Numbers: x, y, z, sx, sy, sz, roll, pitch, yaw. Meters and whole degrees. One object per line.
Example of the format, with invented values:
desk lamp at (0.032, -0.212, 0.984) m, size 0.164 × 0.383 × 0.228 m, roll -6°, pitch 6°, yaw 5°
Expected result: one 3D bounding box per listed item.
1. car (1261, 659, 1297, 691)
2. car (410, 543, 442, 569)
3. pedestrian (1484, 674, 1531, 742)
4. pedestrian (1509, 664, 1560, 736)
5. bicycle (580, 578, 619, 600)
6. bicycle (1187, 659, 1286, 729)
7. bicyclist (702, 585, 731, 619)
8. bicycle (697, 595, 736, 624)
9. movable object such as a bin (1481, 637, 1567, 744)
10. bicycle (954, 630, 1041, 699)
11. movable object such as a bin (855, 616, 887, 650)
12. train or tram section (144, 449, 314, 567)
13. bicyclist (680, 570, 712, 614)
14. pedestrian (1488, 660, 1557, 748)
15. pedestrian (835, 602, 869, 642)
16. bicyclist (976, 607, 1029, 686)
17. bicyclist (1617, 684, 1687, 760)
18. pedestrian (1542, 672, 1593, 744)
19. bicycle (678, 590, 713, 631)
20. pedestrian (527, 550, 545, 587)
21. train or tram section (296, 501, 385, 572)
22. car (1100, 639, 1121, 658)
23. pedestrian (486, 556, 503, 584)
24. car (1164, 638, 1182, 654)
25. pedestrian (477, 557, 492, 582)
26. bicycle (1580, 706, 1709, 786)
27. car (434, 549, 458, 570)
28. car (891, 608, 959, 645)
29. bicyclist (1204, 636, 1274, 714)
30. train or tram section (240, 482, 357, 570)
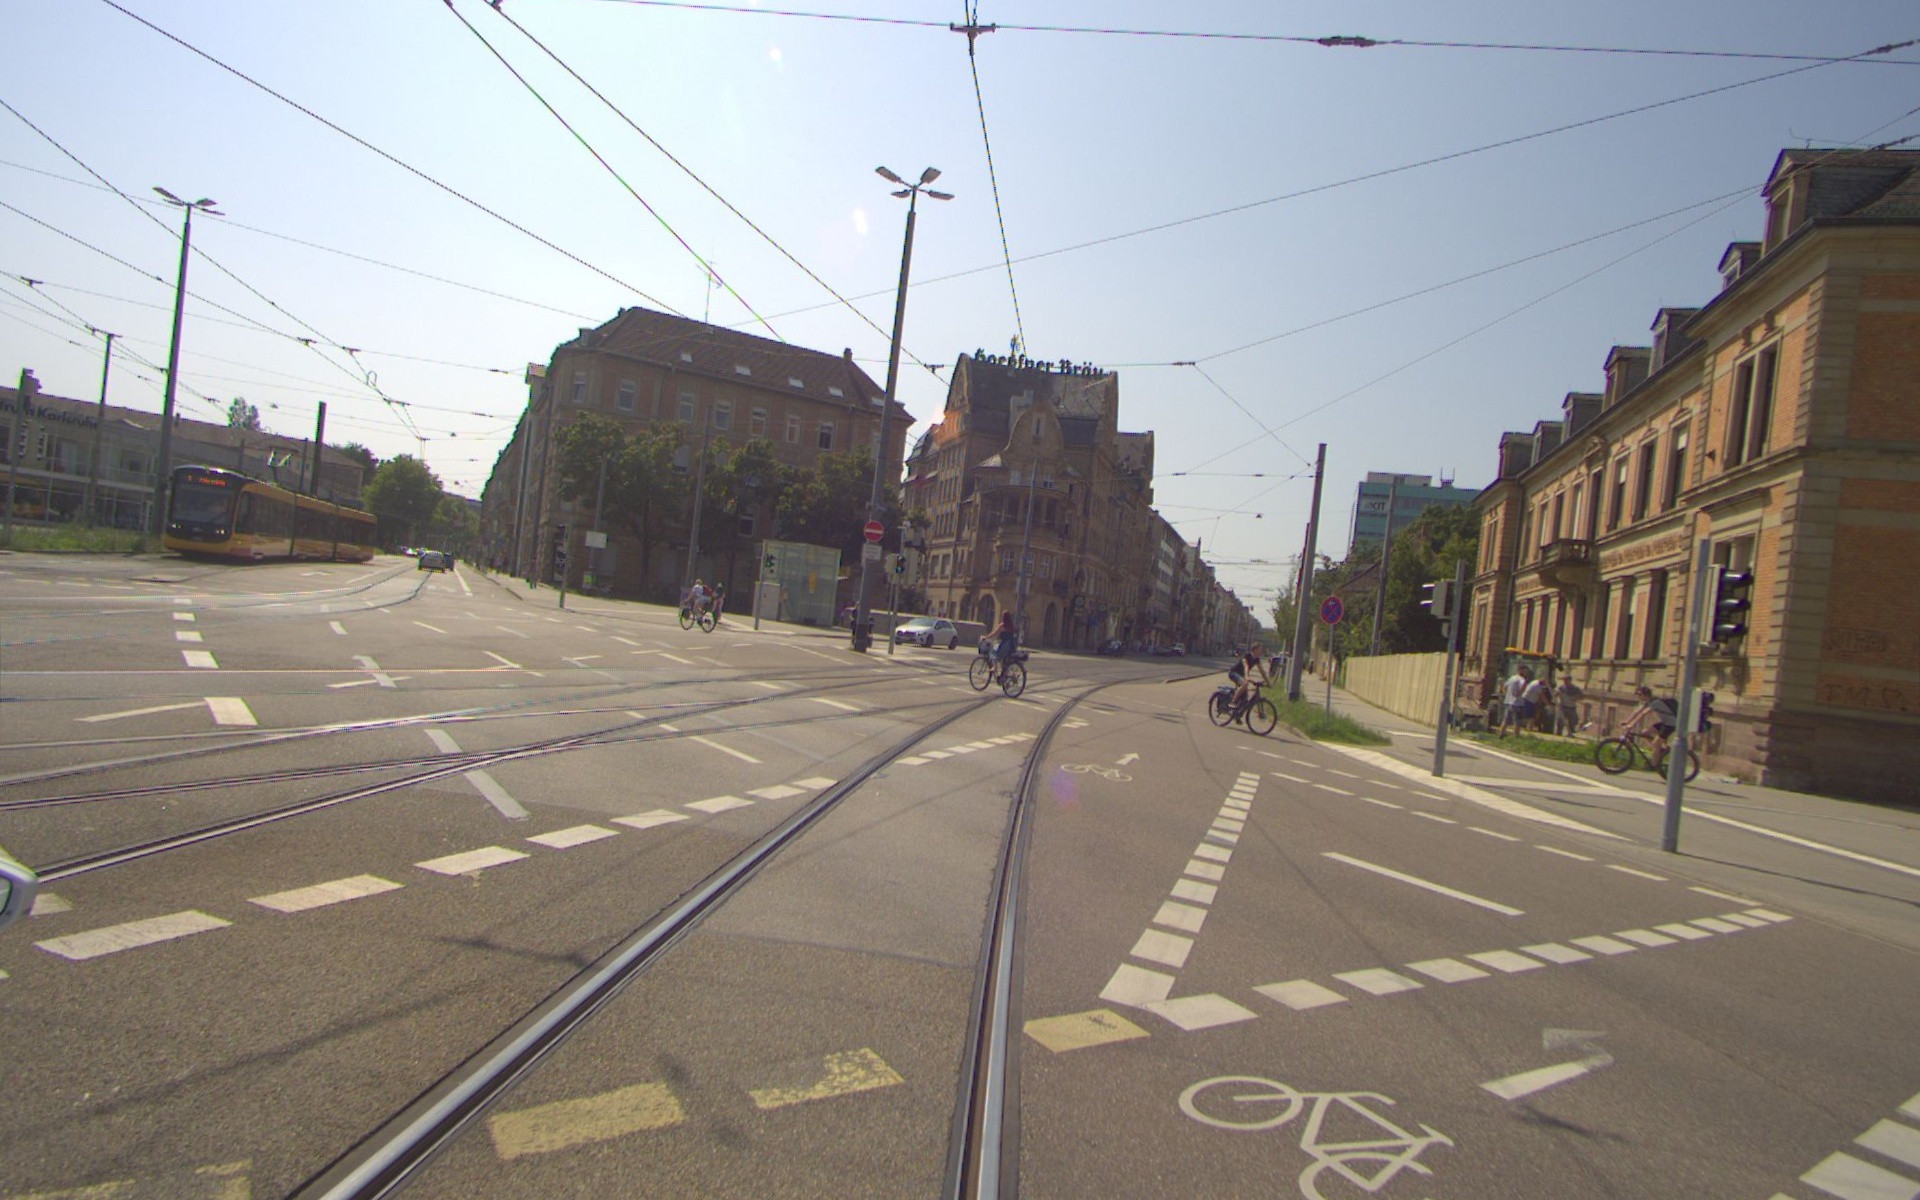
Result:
car at (24.150, 5.726, 76.125) m, size 1.964 × 2.036 × 4.001 m, roll 7°, pitch -2°, yaw 24°
car at (-38.676, -3.204, 72.846) m, size 1.721 × 1.592 × 3.583 m, roll 9°, pitch -2°, yaw -31°
pedestrian at (14.814, 2.921, 27.224) m, size 0.673 × 1.692 × 0.684 m, roll 7°, pitch 1°, yaw -13°
pedestrian at (14.659, 2.543, 25.695) m, size 0.673 × 1.692 × 0.684 m, roll 7°, pitch 1°, yaw -13°
bicycle at (-19.101, -0.570, 53.322) m, size 1.771 × 0.969 × 0.458 m, roll 7°, pitch 0°, yaw -34°
bicycle at (5.590, 1.890, 20.456) m, size 0.468 × 1.140 × 1.937 m, roll 6°, pitch 0°, yaw -37°
bicyclist at (-10.313, 0.085, 42.587) m, size 0.743 × 1.336 × 0.912 m, roll 6°, pitch 0°, yaw -37°
bicycle at (-10.317, 0.379, 42.533) m, size 0.640 × 1.010 × 2.351 m, roll 7°, pitch 0°, yaw -37°
movable object such as a bin at (16.556, 2.631, 29.559) m, size 1.787 × 2.704 × 4.449 m, roll 7°, pitch 0°, yaw 29°
bicycle at (0.736, 1.292, 20.580) m, size 0.437 × 1.125 × 2.106 m, roll 6°, pitch 1°, yaw -37°
movable object such as a bin at (-3.201, 1.176, 36.127) m, size 0.809 × 1.097 × 1.035 m, roll 8°, pitch -2°, yaw -18°
train or tram section at (-29.608, -3.433, 41.461) m, size 2.562 × 3.601 × 12.156 m, roll 8°, pitch -2°, yaw -23°
bicyclist at (-8.293, -0.246, 31.621) m, size 0.653 × 1.269 × 0.637 m, roll 7°, pitch 0°, yaw -37°
pedestrian at (12.766, 2.341, 22.849) m, size 0.673 × 1.835 × 1.036 m, roll 6°, pitch 0°, yaw -13°
pedestrian at (-3.961, 0.813, 36.885) m, size 0.804 × 1.368 × 0.717 m, roll 7°, pitch 0°, yaw 38°
bicyclist at (0.864, 0.932, 20.394) m, size 0.653 × 1.499 × 0.637 m, roll 6°, pitch 0°, yaw -37°
bicyclist at (12.735, 2.226, 18.552) m, size 0.850 × 1.249 × 1.100 m, roll 7°, pitch 0°, yaw 31°
pedestrian at (15.435, 2.736, 25.568) m, size 0.673 × 1.692 × 0.684 m, roll 7°, pitch 1°, yaw -13°
bicycle at (-8.348, 0.321, 31.703) m, size 0.437 × 1.125 × 1.627 m, roll 6°, pitch 0°, yaw -35°
pedestrian at (-24.322, -1.809, 57.711) m, size 0.644 × 2.038 × 0.698 m, roll 6°, pitch 1°, yaw -31°
train or tram section at (-39.074, -3.795, 63.874) m, size 2.562 × 3.601 × 12.156 m, roll 8°, pitch -2°, yaw -23°
car at (13.541, 4.349, 90.508) m, size 1.349 × 1.414 × 3.260 m, roll 7°, pitch -2°, yaw 16°
pedestrian at (-35.633, -2.282, 77.056) m, size 0.834 × 2.037 × 0.802 m, roll 8°, pitch -1°, yaw -35°
car at (31.155, 6.721, 146.899) m, size 1.963 × 2.038 × 4.001 m, roll 7°, pitch -1°, yaw 19°
pedestrian at (-41.471, -2.641, 87.695) m, size 0.787 × 2.037 × 0.802 m, roll 8°, pitch -1°, yaw -35°
bicycle at (12.601, 2.664, 18.592) m, size 1.824 × 1.125 × 0.712 m, roll 7°, pitch 0°, yaw 30°
car at (-43.384, -3.416, 84.928) m, size 1.498 × 1.529 × 3.595 m, roll 7°, pitch 0°, yaw -30°
car at (-1.617, 1.279, 47.840) m, size 1.559 × 1.302 × 3.728 m, roll 7°, pitch -2°, yaw 25°
bicyclist at (5.670, 1.528, 20.464) m, size 0.797 × 1.441 × 0.920 m, roll 6°, pitch 0°, yaw -38°
train or tram section at (-34.506, -3.623, 53.015) m, size 2.562 × 3.601 × 12.156 m, roll 8°, pitch -2°, yaw -23°
